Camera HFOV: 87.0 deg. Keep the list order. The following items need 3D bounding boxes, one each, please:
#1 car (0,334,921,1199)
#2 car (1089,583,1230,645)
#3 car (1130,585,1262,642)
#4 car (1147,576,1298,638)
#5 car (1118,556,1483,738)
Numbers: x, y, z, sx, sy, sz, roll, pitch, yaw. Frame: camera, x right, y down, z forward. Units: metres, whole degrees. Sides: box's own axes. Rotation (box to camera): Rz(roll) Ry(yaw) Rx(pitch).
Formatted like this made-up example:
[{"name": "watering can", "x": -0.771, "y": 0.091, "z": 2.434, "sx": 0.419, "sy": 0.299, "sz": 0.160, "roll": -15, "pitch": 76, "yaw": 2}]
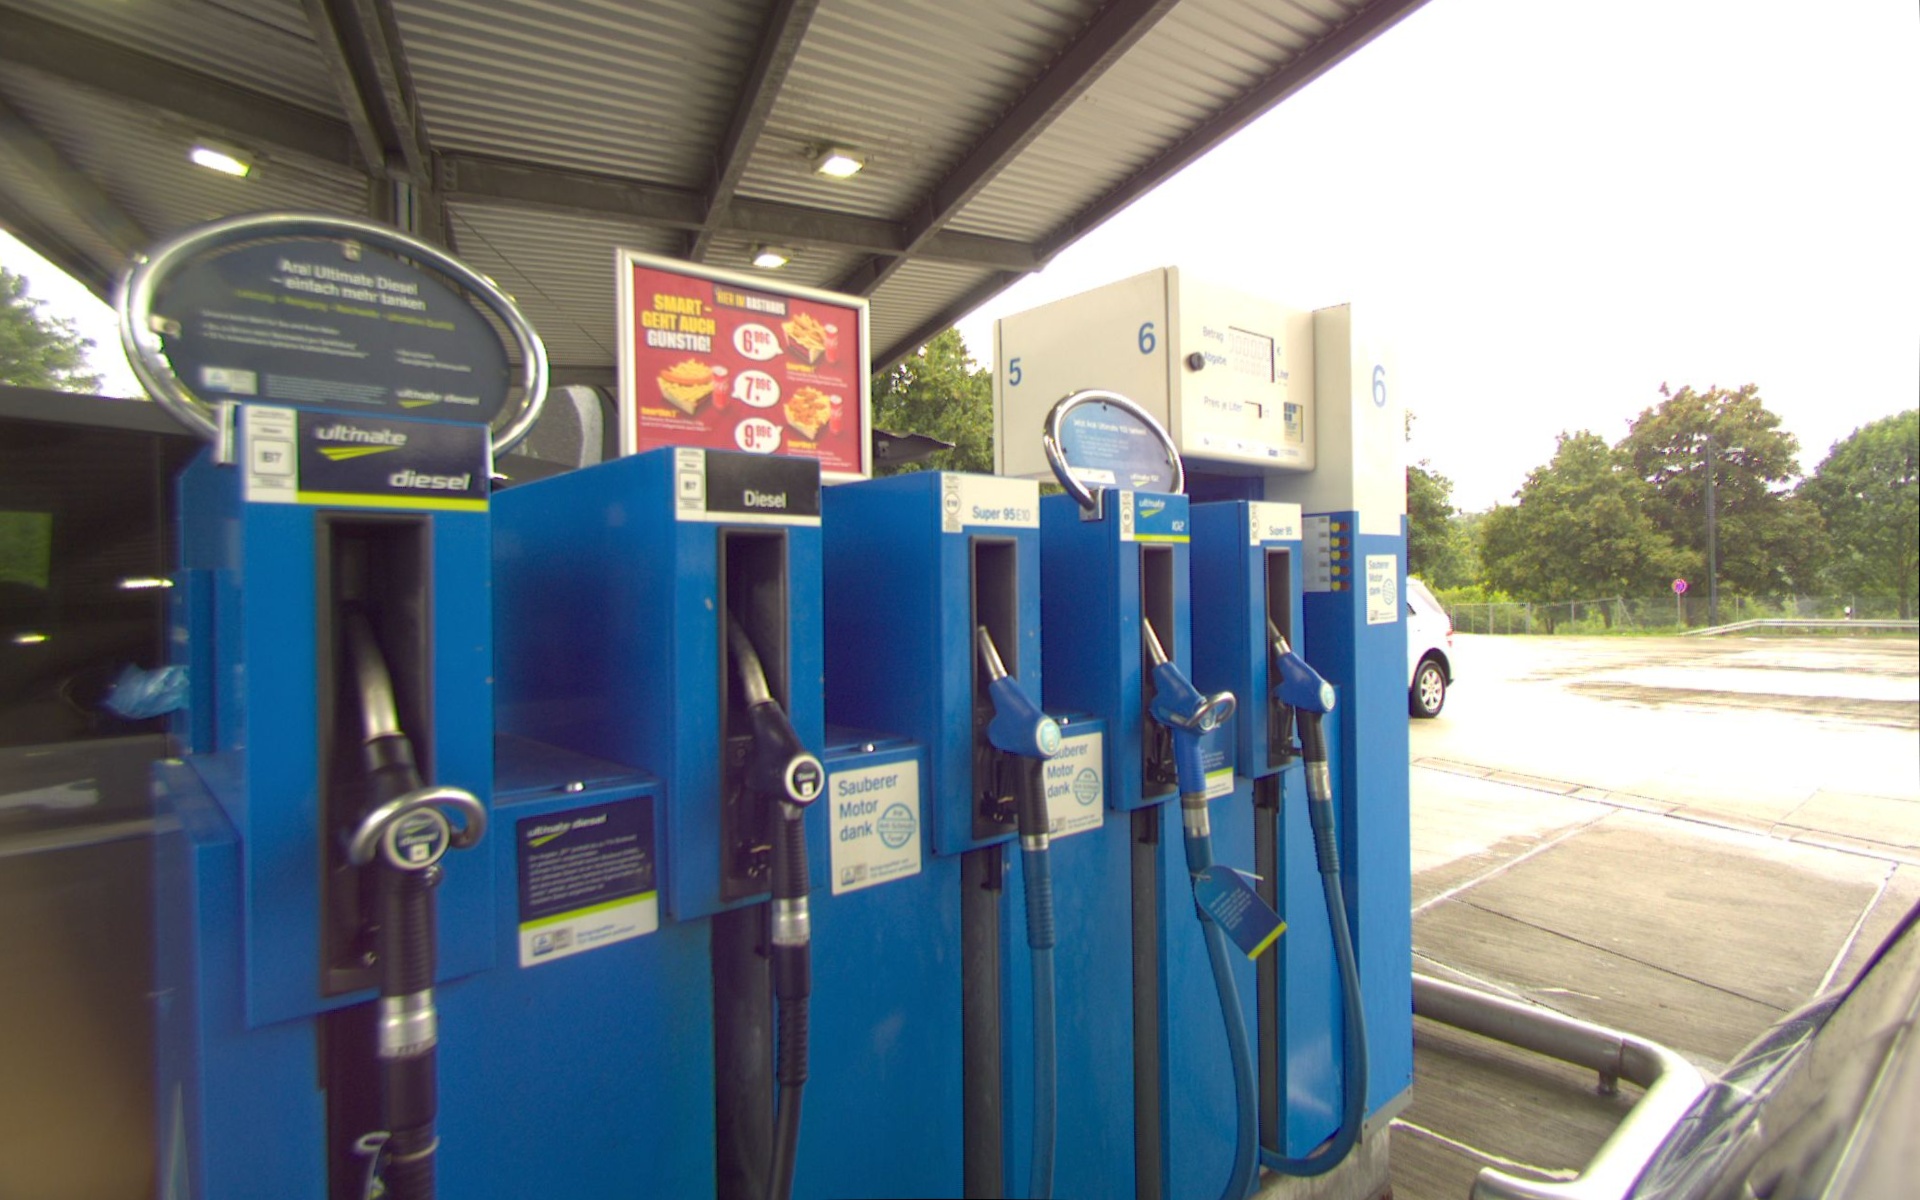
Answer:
[{"name": "car", "x": -2.615, "y": 0.502, "z": 1.811, "sx": 5.050, "sy": 1.821, "sz": 1.864, "roll": -1, "pitch": 0, "yaw": -41}, {"name": "car", "x": 5.858, "y": 0.377, "z": 29.723, "sx": 3.941, "sy": 1.680, "sz": 1.593, "roll": 1, "pitch": 0, "yaw": 14}, {"name": "car", "x": 7.413, "y": 0.388, "z": 31.913, "sx": 3.941, "sy": 1.680, "sz": 1.593, "roll": 1, "pitch": 0, "yaw": 14}, {"name": "car", "x": 8.875, "y": 0.210, "z": 34.496, "sx": 4.817, "sy": 1.974, "sz": 2.306, "roll": 1, "pitch": 1, "yaw": 14}, {"name": "car", "x": 4.179, "y": 0.455, "z": 12.149, "sx": 4.452, "sy": 1.821, "sz": 1.868, "roll": 0, "pitch": 0, "yaw": -34}]
